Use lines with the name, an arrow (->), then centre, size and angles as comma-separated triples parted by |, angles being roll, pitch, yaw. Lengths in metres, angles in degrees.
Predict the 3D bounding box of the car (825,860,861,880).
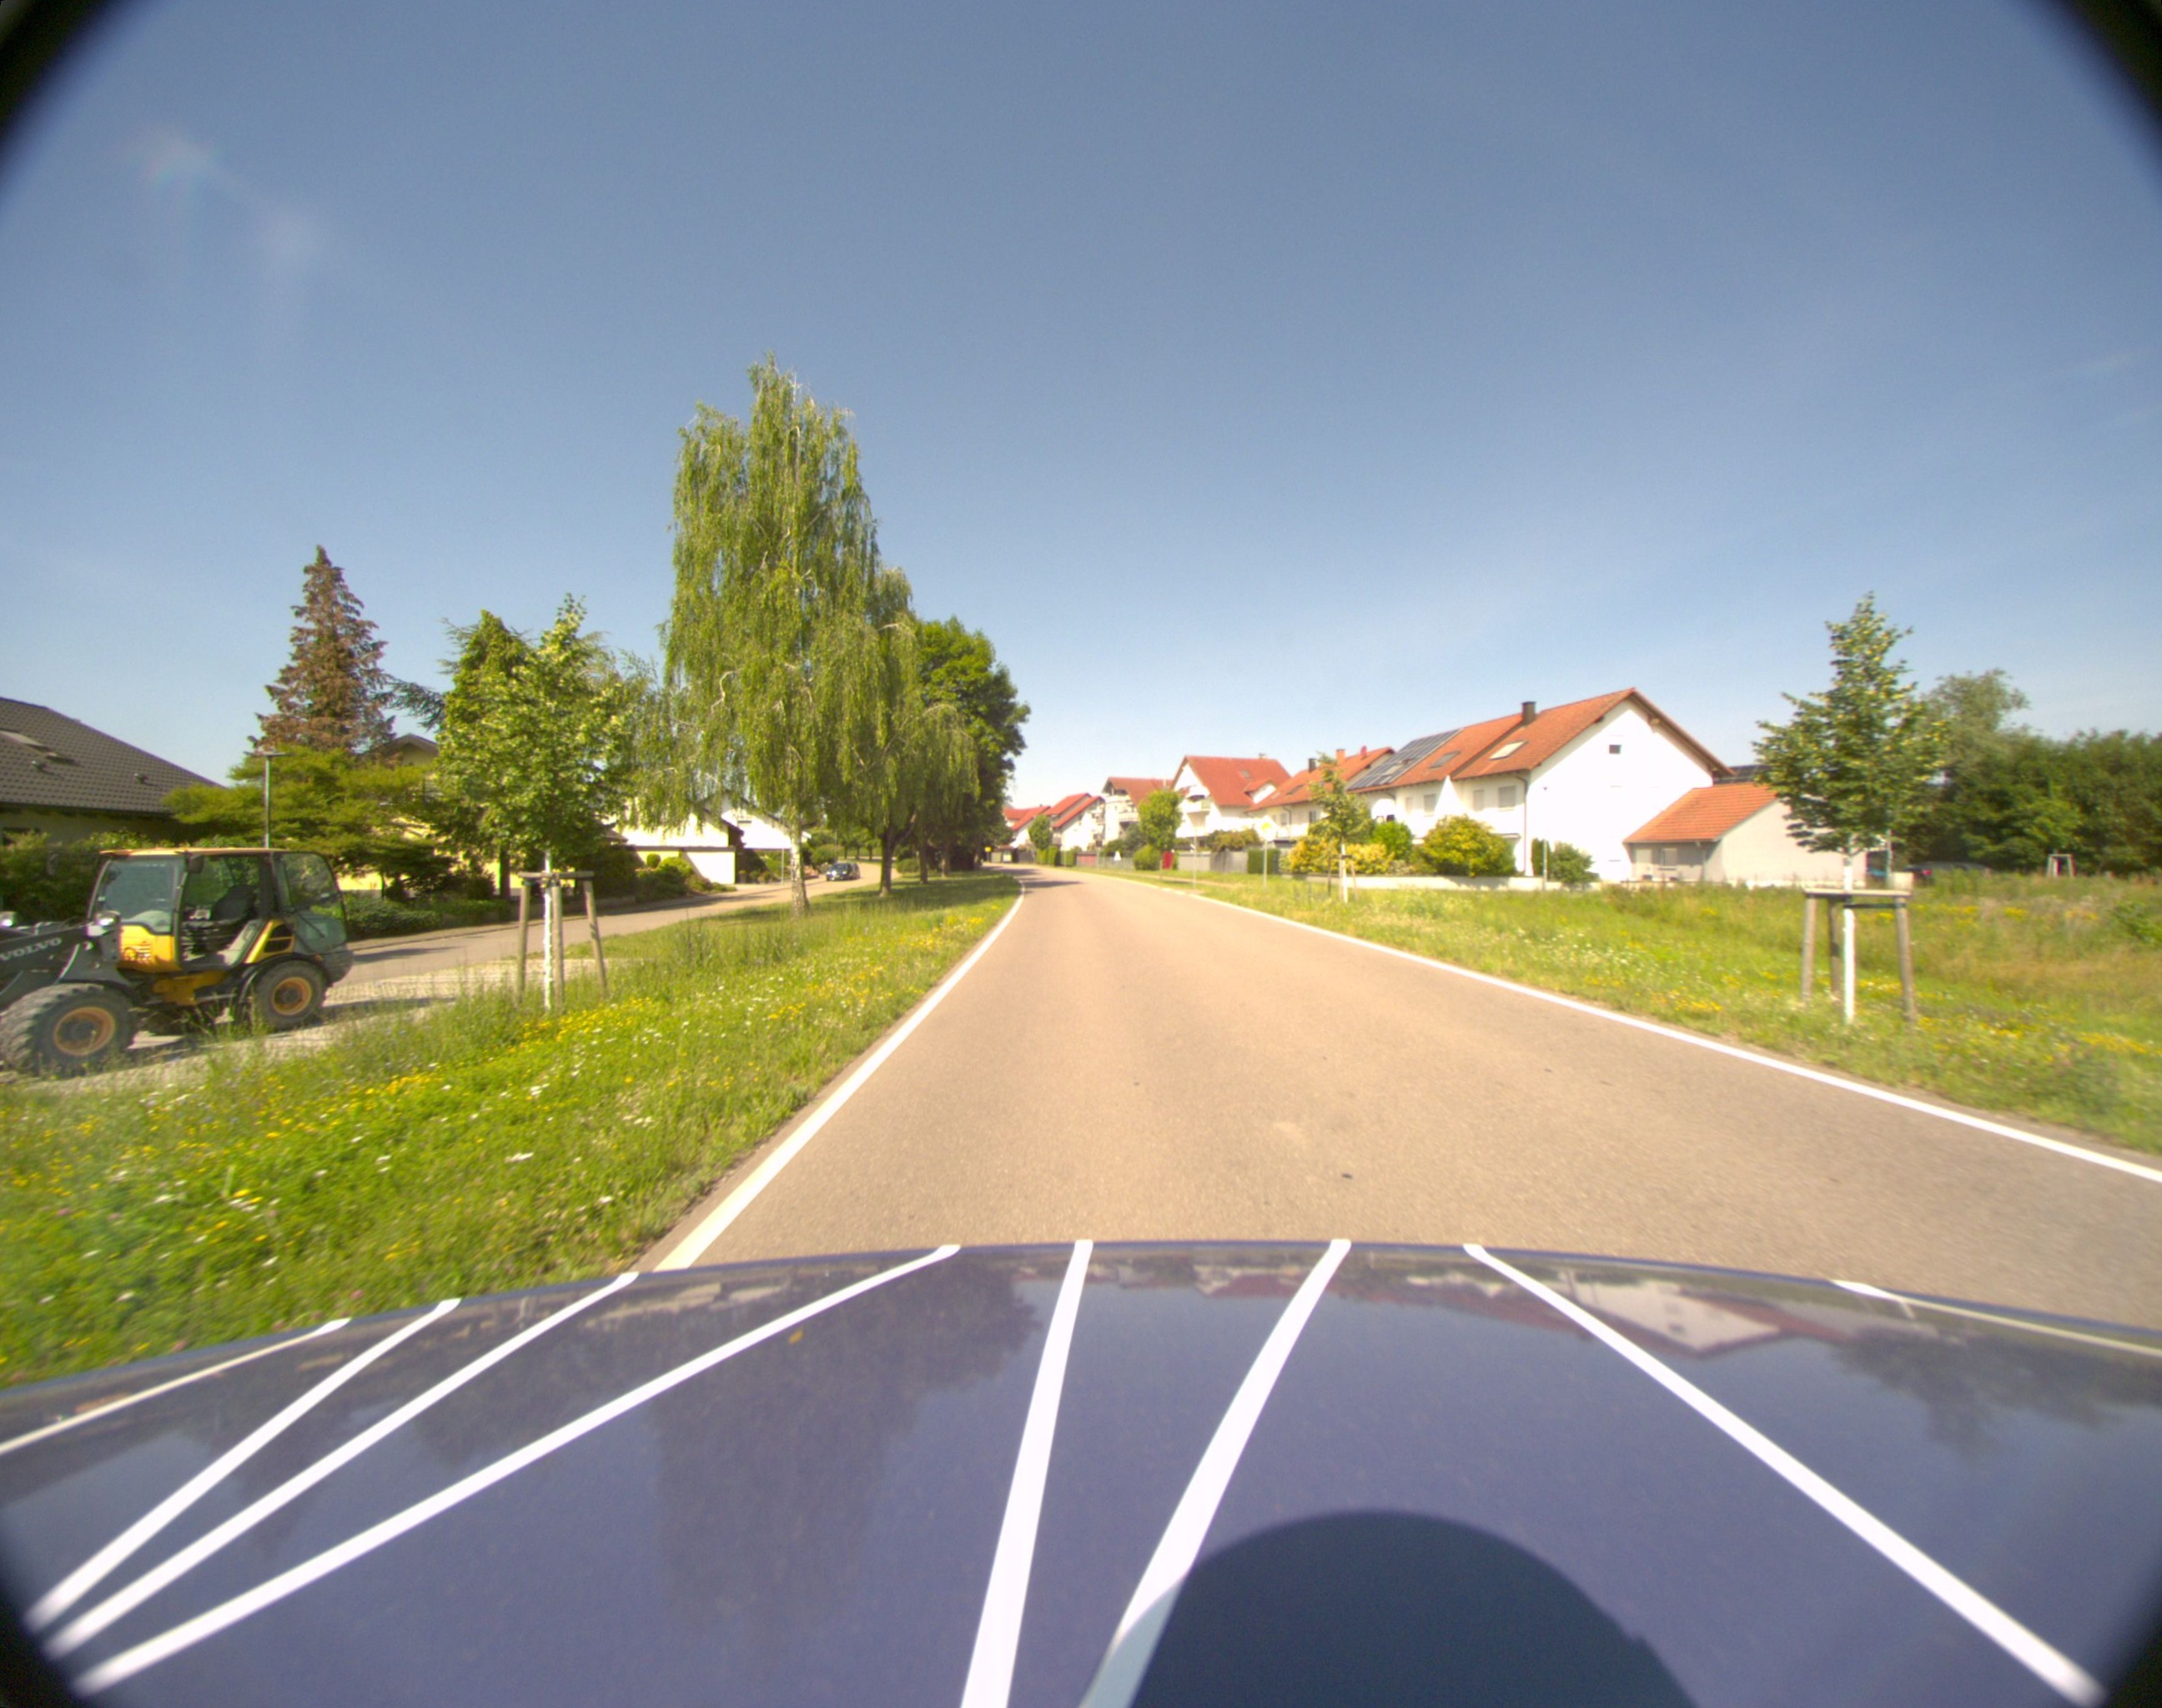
car -> -19.868, 1.329, 63.632 | 1.863, 1.437, 4.167 | -2, 1, -3

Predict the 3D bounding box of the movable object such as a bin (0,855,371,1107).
movable object such as a bin -> -11.838, 1.290, 7.862 | 2.322, 2.449, 6.945 | -1, 1, 1
